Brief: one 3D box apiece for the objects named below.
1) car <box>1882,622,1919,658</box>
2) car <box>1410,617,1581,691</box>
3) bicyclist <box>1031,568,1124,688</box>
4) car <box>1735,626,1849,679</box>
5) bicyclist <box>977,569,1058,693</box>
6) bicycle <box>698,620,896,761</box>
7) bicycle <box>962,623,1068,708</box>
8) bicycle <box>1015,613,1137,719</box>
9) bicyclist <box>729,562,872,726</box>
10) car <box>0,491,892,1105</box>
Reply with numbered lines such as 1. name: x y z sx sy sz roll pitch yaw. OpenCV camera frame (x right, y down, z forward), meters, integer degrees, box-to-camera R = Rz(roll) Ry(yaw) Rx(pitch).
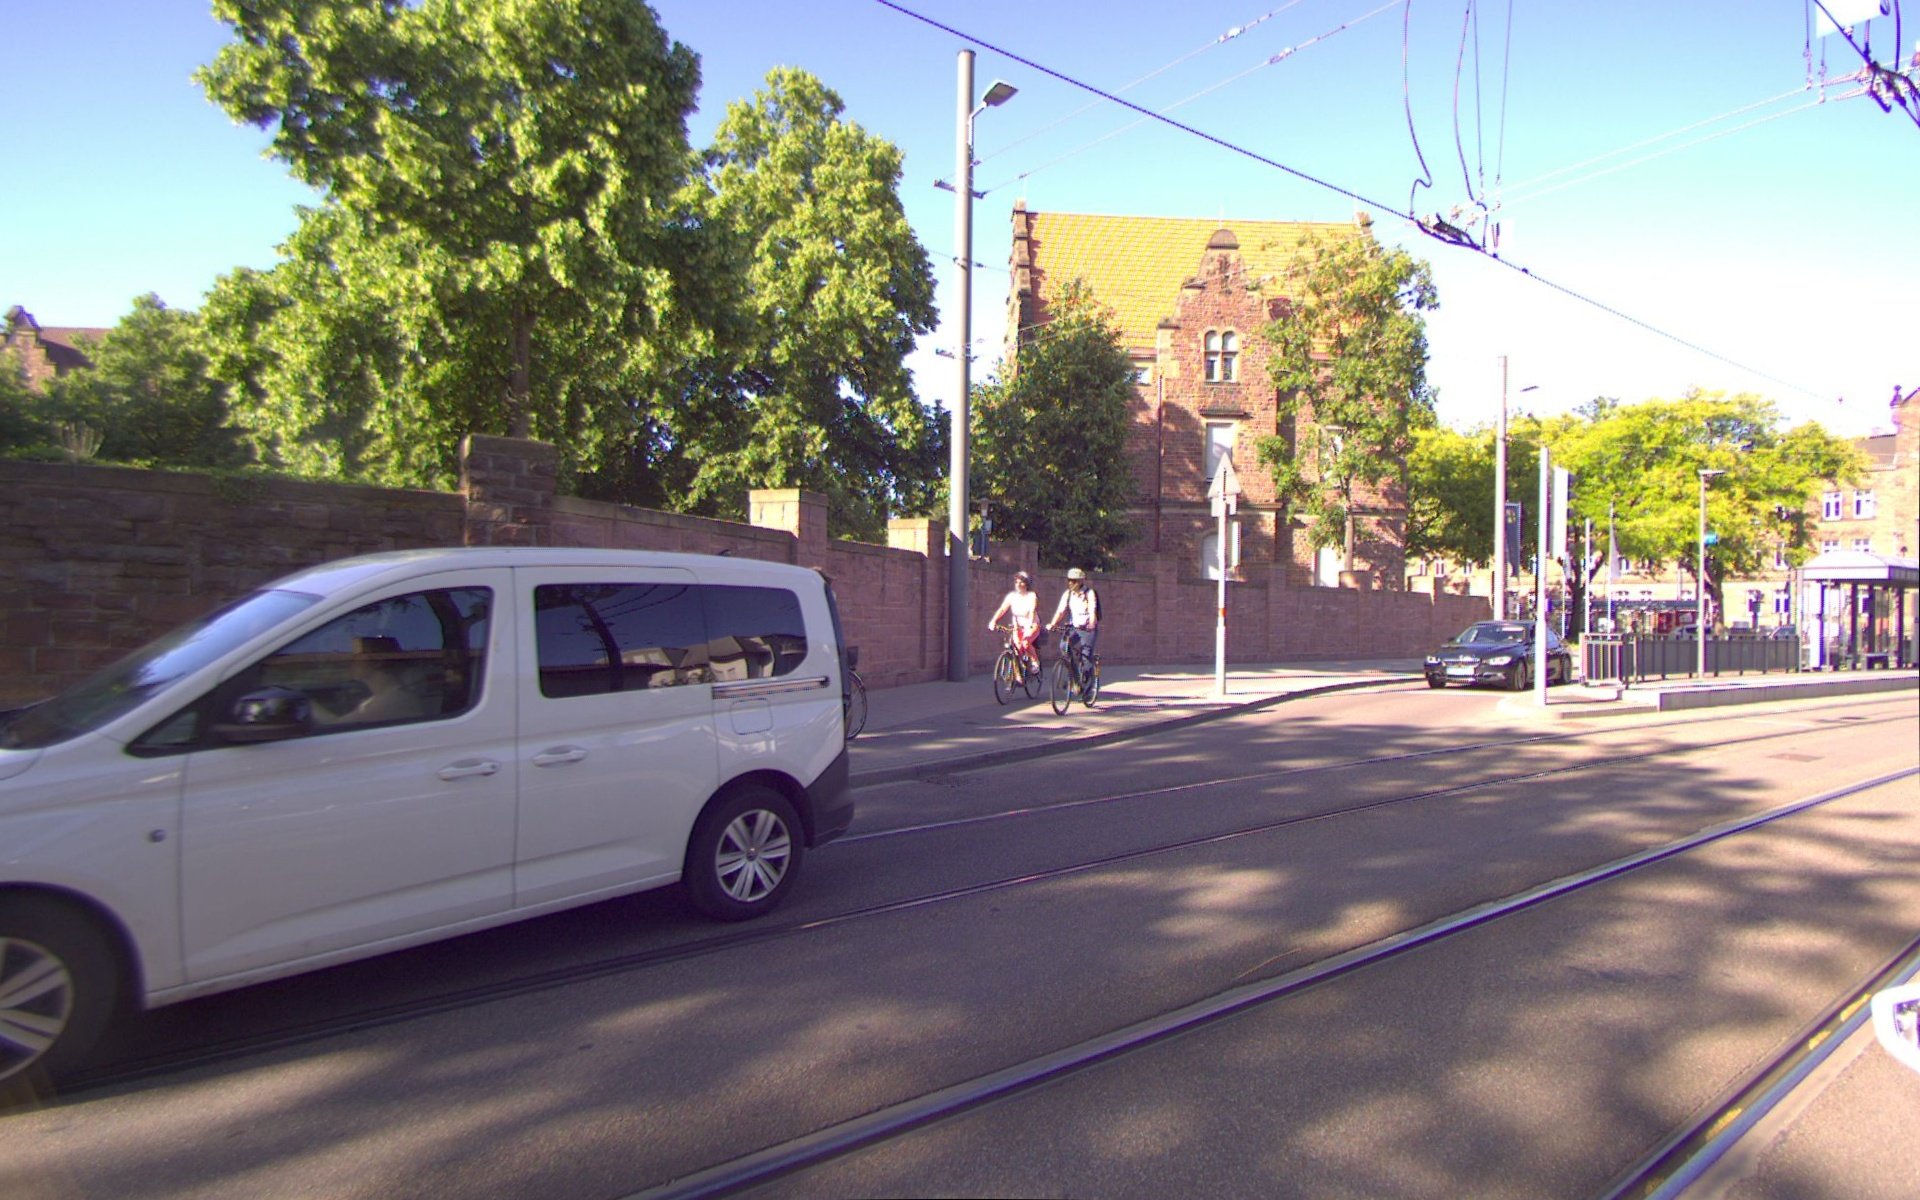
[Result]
1. car: 40.682 1.716 42.090 4.277 1.465 1.818 2 -1 -30
2. car: 11.493 1.108 21.423 4.461 1.400 1.782 1 -3 -42
3. bicyclist: 1.626 0.371 13.732 0.750 1.556 1.345 0 -1 32
4. car: 28.051 1.756 33.830 4.283 1.638 1.816 2 -1 -34
5. bicyclist: 0.835 0.419 14.447 0.641 1.697 1.230 2 1 31
6. bicycle: -1.547 0.821 9.883 0.804 1.214 1.947 2 0 33
7. bicycle: 0.829 0.901 14.463 0.659 1.087 2.010 2 1 31
8. bicycle: 1.626 0.850 13.756 0.766 1.247 2.083 4 3 33
9. bicyclist: -1.545 0.406 9.866 0.746 1.490 1.187 2 0 34
10. car: -2.498 0.622 4.594 1.808 1.811 4.228 0 -1 45
